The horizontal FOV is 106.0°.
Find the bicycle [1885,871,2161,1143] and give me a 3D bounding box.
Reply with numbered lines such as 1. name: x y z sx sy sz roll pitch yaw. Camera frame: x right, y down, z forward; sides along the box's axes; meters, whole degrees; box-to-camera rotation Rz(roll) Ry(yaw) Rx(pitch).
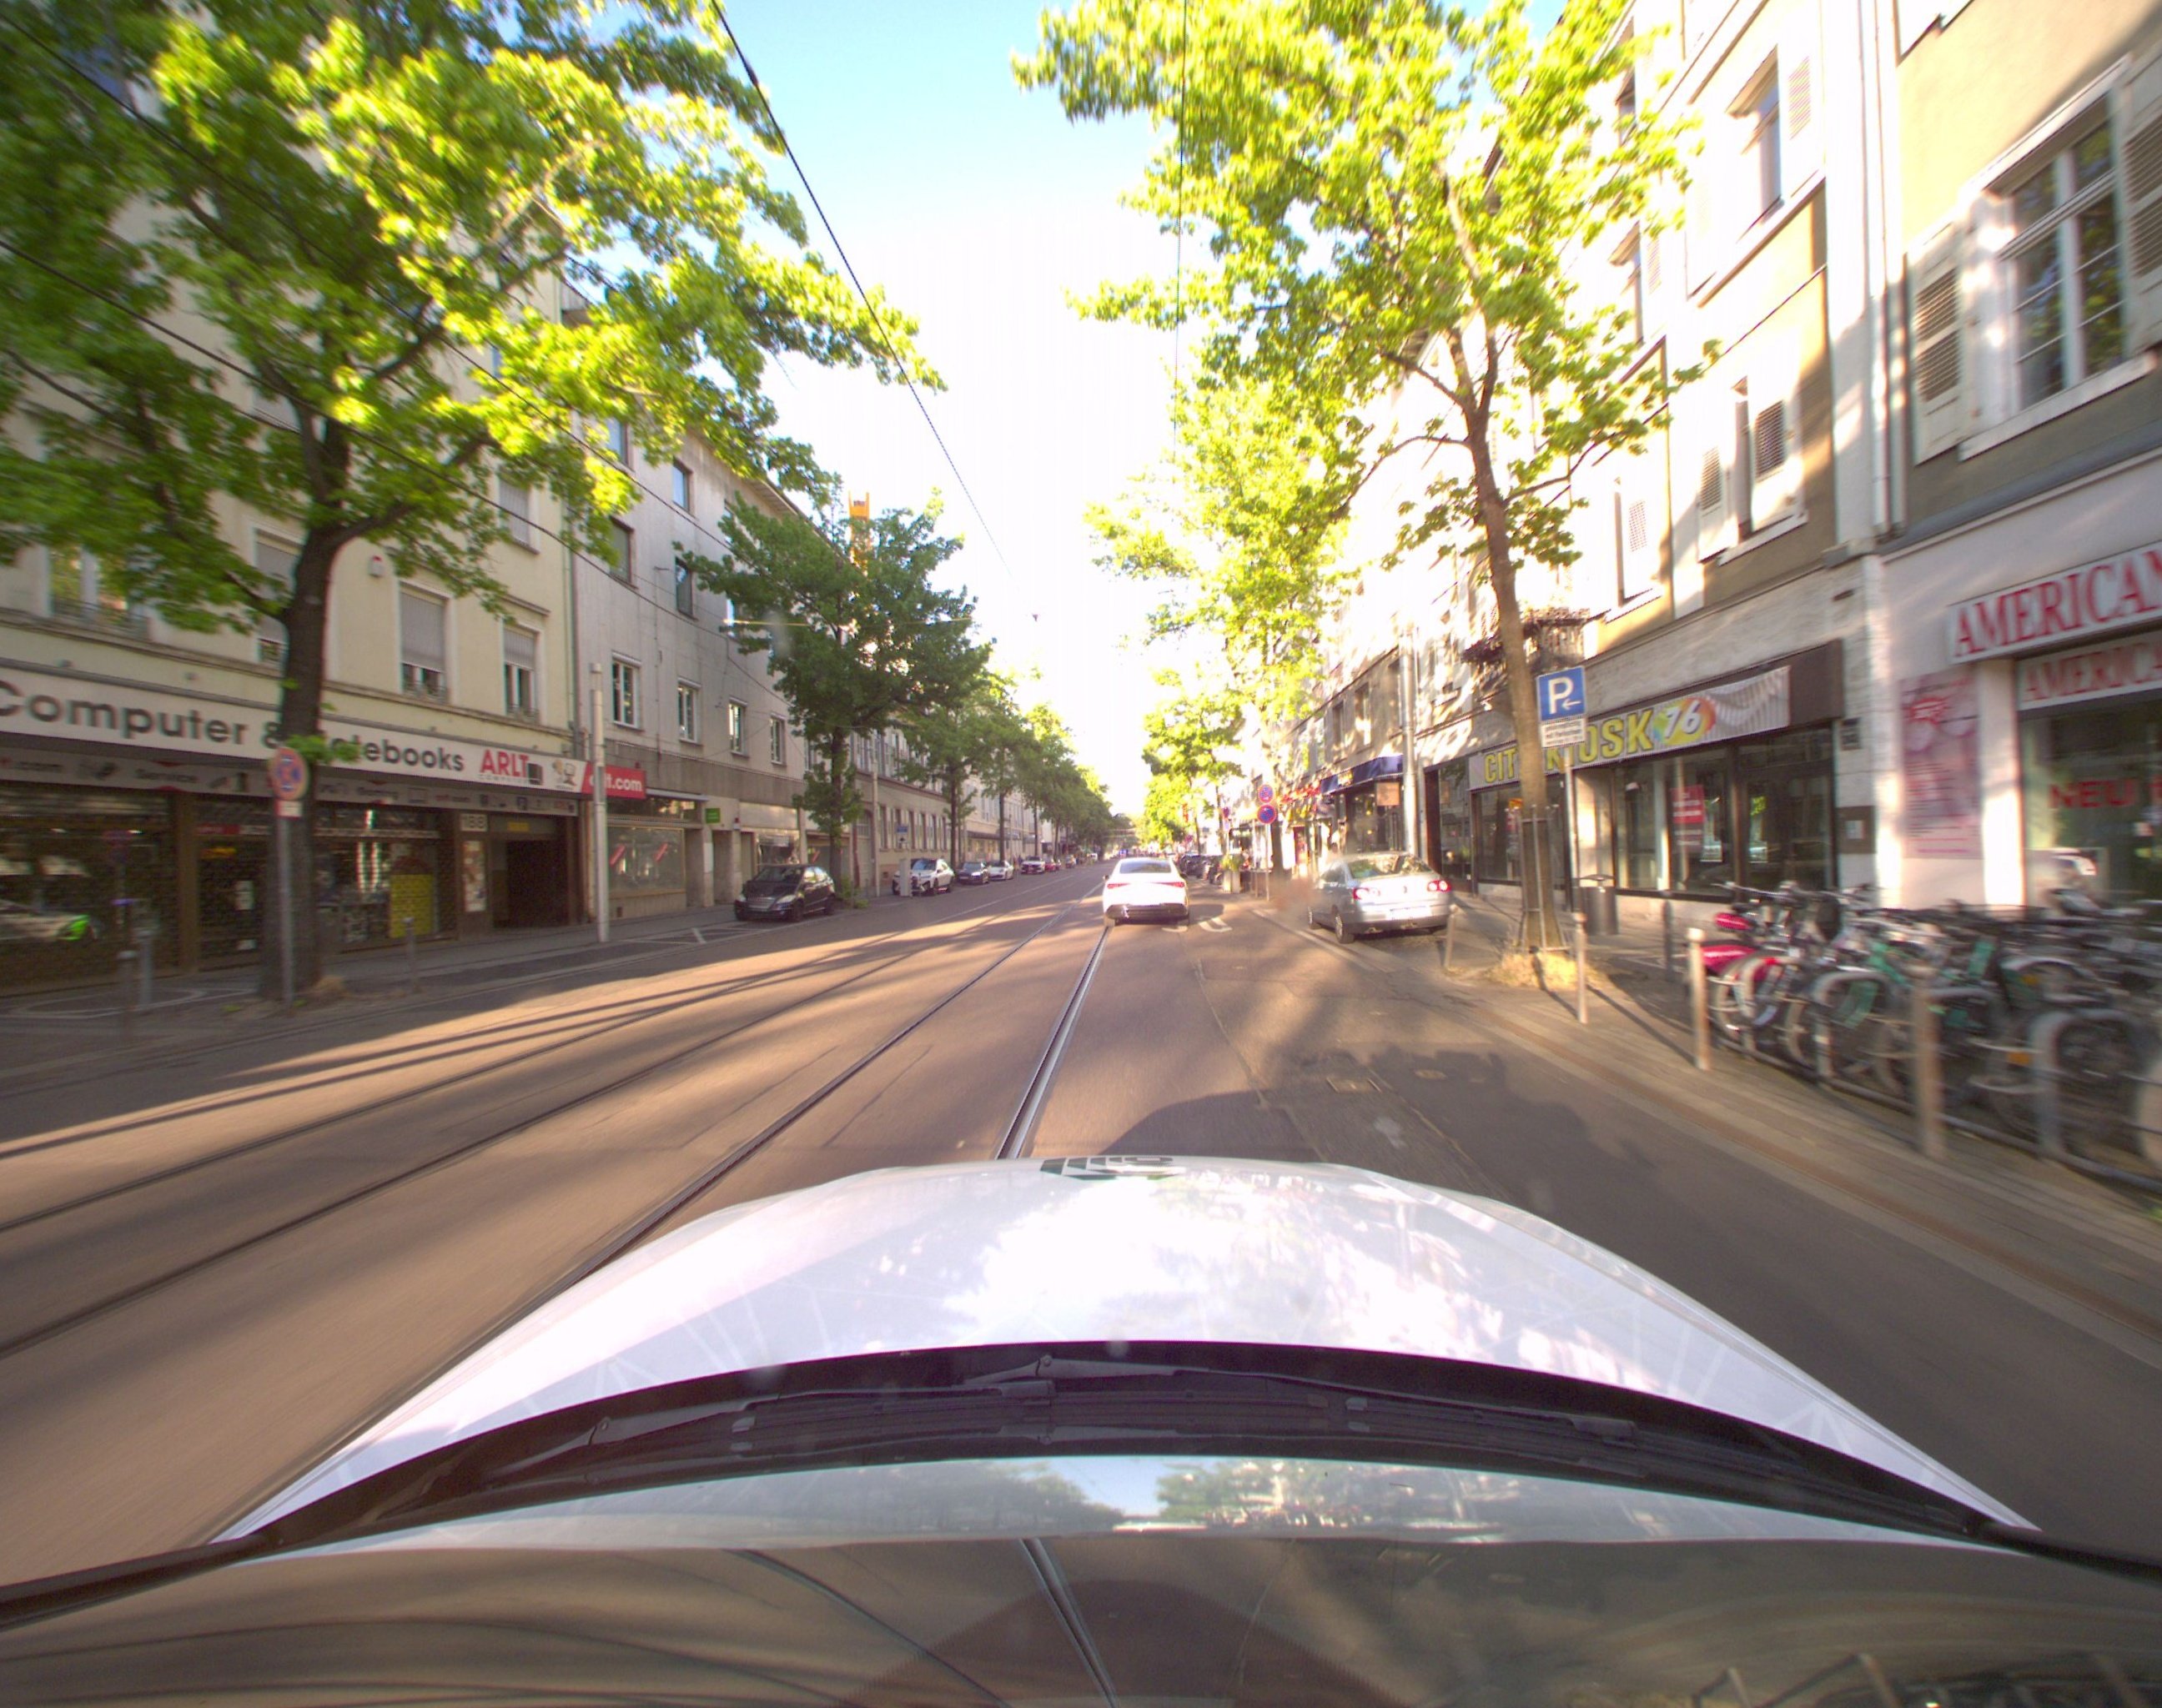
1. bicycle: 5.104 0.681 3.867 1.857 1.154 0.563 -3 -1 5

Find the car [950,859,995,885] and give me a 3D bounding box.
1. car: -6.621 1.070 50.073 1.954 1.412 4.848 -2 0 1

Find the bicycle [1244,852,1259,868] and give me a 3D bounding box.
1. bicycle: 11.630 0.390 55.589 0.645 1.074 1.862 -4 0 3

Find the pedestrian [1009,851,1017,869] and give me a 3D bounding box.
1. pedestrian: -6.910 0.576 82.448 0.705 1.806 0.675 -3 0 -1

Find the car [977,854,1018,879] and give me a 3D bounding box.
1. car: -5.889 0.869 58.006 1.937 1.640 4.917 -2 0 6

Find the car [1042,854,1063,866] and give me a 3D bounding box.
1. car: -3.286 0.719 94.403 1.985 1.292 4.004 -3 0 4

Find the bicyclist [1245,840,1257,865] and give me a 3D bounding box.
1. bicyclist: 11.607 -0.119 55.667 0.636 1.684 0.600 -4 0 2

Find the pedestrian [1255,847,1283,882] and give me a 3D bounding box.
1. pedestrian: 7.730 0.437 33.490 0.712 1.387 0.739 -3 0 -34

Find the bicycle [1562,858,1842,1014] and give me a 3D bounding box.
1. bicycle: 5.368 0.697 7.124 1.857 1.154 0.563 -5 -1 5

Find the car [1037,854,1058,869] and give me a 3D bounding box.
1. car: -3.528 0.796 86.219 1.680 1.499 4.240 -2 0 5

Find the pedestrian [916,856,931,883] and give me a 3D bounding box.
1. pedestrian: -9.950 0.958 51.459 0.671 1.680 0.648 -3 0 4

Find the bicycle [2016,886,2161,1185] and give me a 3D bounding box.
1. bicycle: 5.068 0.701 3.340 1.857 1.154 0.348 -3 -1 5

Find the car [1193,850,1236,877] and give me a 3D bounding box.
1. car: 7.902 0.536 48.561 1.809 1.486 3.998 -2 0 -1

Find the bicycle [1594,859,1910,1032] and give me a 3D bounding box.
1. bicycle: 5.256 0.705 6.467 1.857 1.154 0.563 -6 -1 5

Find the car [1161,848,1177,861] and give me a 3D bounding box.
1. car: 12.000 0.041 110.887 1.984 1.728 4.246 -3 0 4

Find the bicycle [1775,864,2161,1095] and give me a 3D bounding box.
1. bicycle: 5.140 0.679 4.580 1.857 1.154 0.563 -3 -1 5

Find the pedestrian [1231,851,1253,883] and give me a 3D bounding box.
1. pedestrian: 6.648 0.527 33.650 0.812 1.265 0.588 -3 0 9

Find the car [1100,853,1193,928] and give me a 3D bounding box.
1. car: 1.526 0.741 18.472 1.858 1.469 4.049 -1 0 6

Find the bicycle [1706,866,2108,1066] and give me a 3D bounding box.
1. bicycle: 5.229 0.697 5.247 1.857 1.154 0.563 -3 -1 5

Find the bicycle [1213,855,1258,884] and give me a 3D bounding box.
1. bicycle: 6.714 0.682 35.396 1.710 1.138 0.550 -5 -1 24

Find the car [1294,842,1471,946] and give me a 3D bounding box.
1. car: 5.219 0.630 14.760 1.768 1.440 4.428 -6 -1 5

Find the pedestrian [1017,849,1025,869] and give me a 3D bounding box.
1. pedestrian: -6.086 0.510 82.292 0.705 2.004 0.675 -3 0 -2

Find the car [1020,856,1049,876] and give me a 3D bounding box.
1. car: -4.298 1.064 76.351 1.952 1.692 5.020 -2 0 5

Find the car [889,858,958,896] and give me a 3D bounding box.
1. car: -7.397 1.025 38.762 1.953 1.640 4.818 0 0 5

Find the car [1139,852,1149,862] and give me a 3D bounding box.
1. car: 16.032 0.819 208.129 1.988 2.541 3.998 -3 0 -1

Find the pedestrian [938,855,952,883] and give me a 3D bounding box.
1. pedestrian: -8.568 0.927 51.361 0.683 1.720 0.657 -2 0 4

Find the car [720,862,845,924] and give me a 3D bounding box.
1. car: -8.721 1.083 24.203 1.952 1.640 4.006 0 0 5

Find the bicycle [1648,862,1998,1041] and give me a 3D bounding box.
1. bicycle: 5.261 0.679 5.862 1.857 1.154 0.563 -3 -1 5

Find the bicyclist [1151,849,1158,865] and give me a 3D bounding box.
1. bicyclist: 8.390 0.341 93.214 0.721 1.702 0.812 -3 0 5

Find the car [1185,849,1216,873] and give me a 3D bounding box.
1. car: 8.232 0.477 56.425 1.862 1.453 4.113 -5 0 6

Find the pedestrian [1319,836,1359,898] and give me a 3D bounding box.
1. pedestrian: 7.100 0.357 22.448 0.799 1.643 0.756 -4 0 4

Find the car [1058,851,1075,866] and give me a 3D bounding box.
1. car: -1.895 0.576 108.019 1.542 1.796 3.178 -3 0 13

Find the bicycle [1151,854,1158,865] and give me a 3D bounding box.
1. bicycle: 8.395 0.580 93.175 0.737 1.188 2.163 -3 0 5

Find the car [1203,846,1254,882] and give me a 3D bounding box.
1. car: 7.094 0.472 39.456 1.794 1.458 3.656 -7 0 2

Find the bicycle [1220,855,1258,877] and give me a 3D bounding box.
1. bicycle: 8.538 0.656 43.948 1.853 1.074 0.711 -4 0 -6
